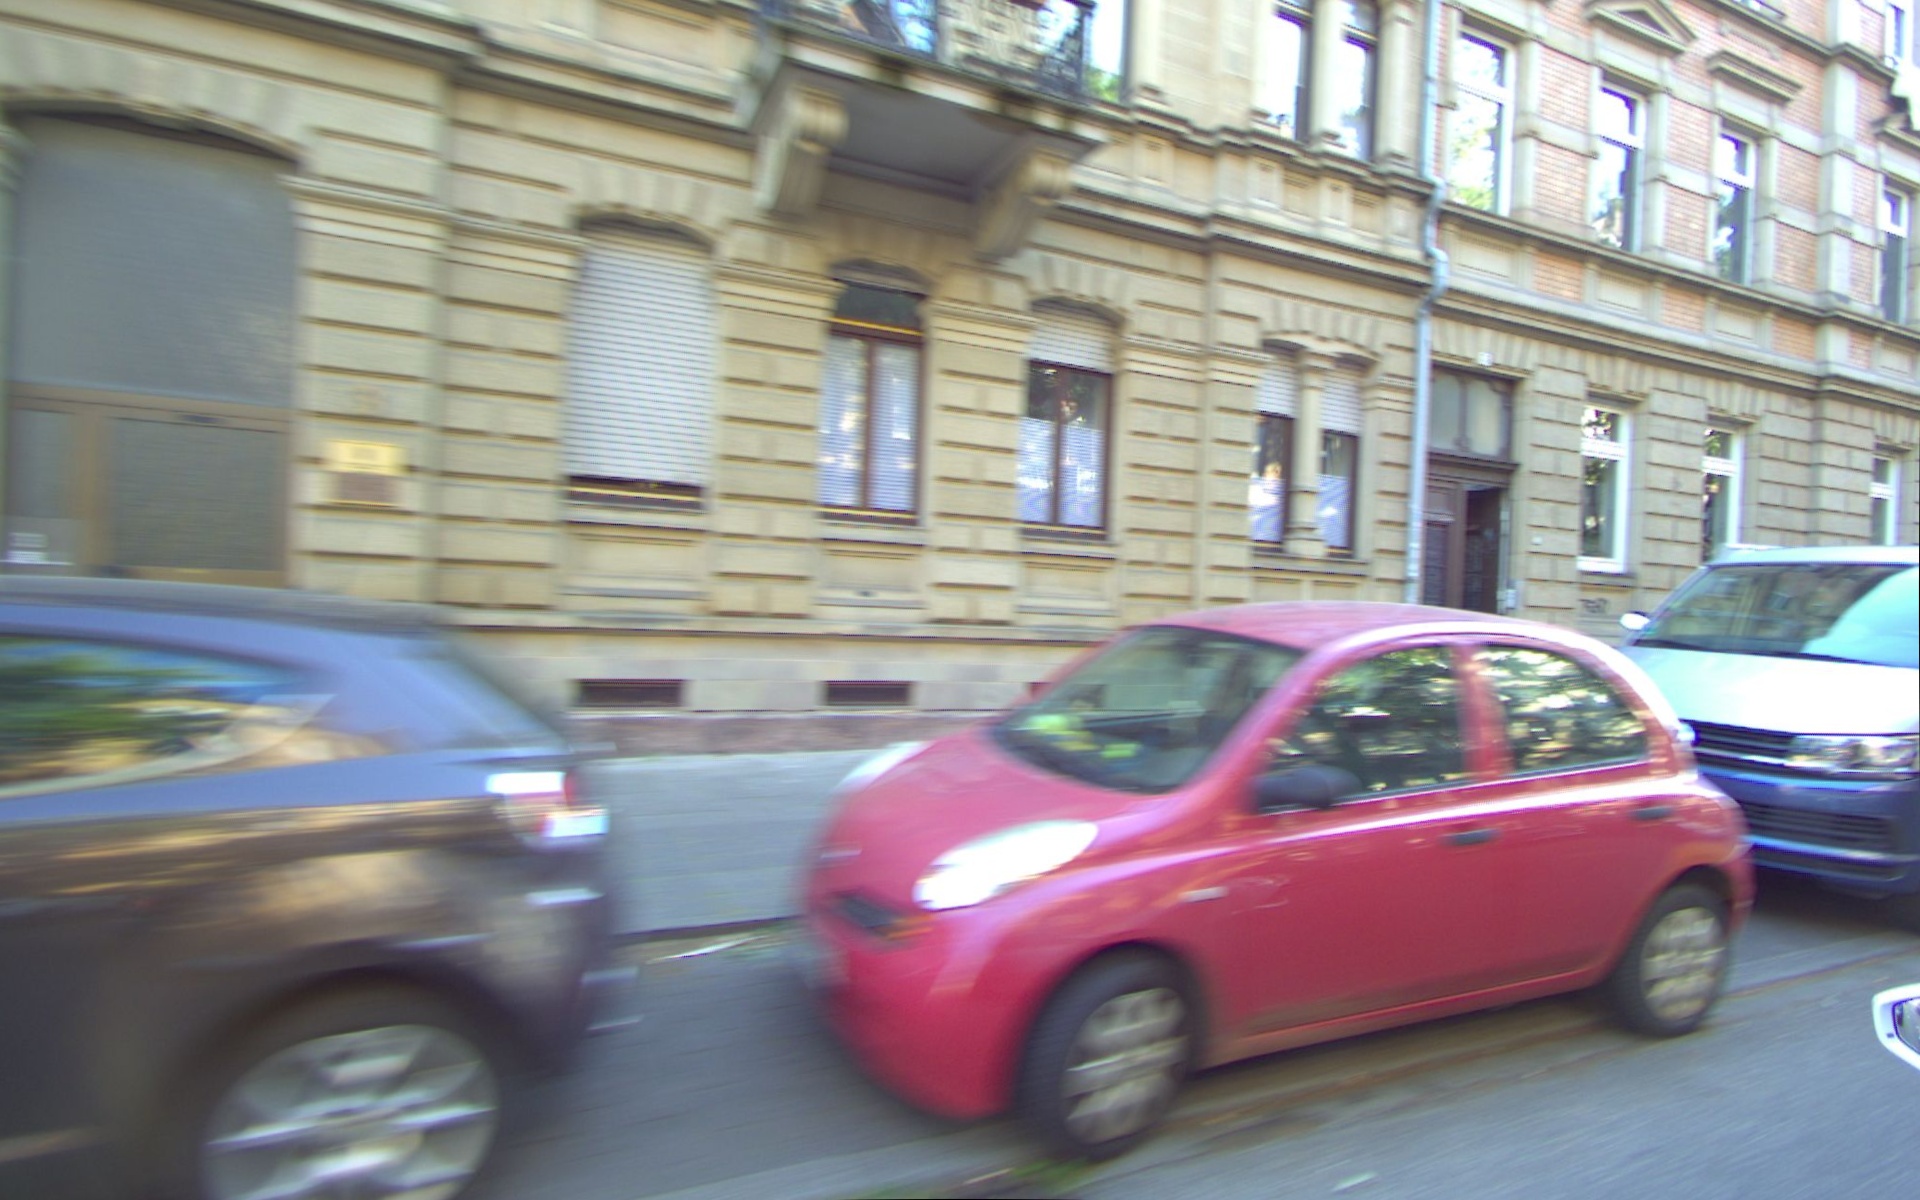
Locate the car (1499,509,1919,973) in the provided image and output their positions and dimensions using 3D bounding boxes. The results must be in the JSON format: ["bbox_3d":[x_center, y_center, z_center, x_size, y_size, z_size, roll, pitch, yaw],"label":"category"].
[{"bbox_3d":[5.950,0.639,6.166,5.188,1.969,1.827,2,2,-25],"label":"car"}]

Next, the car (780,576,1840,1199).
[{"bbox_3d":[1.304,0.738,3.835,3.646,1.495,1.589,2,2,-22],"label":"car"}]

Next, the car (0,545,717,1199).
[{"bbox_3d":[-2.757,0.620,2.286,4.005,1.521,1.753,2,2,-25],"label":"car"}]
